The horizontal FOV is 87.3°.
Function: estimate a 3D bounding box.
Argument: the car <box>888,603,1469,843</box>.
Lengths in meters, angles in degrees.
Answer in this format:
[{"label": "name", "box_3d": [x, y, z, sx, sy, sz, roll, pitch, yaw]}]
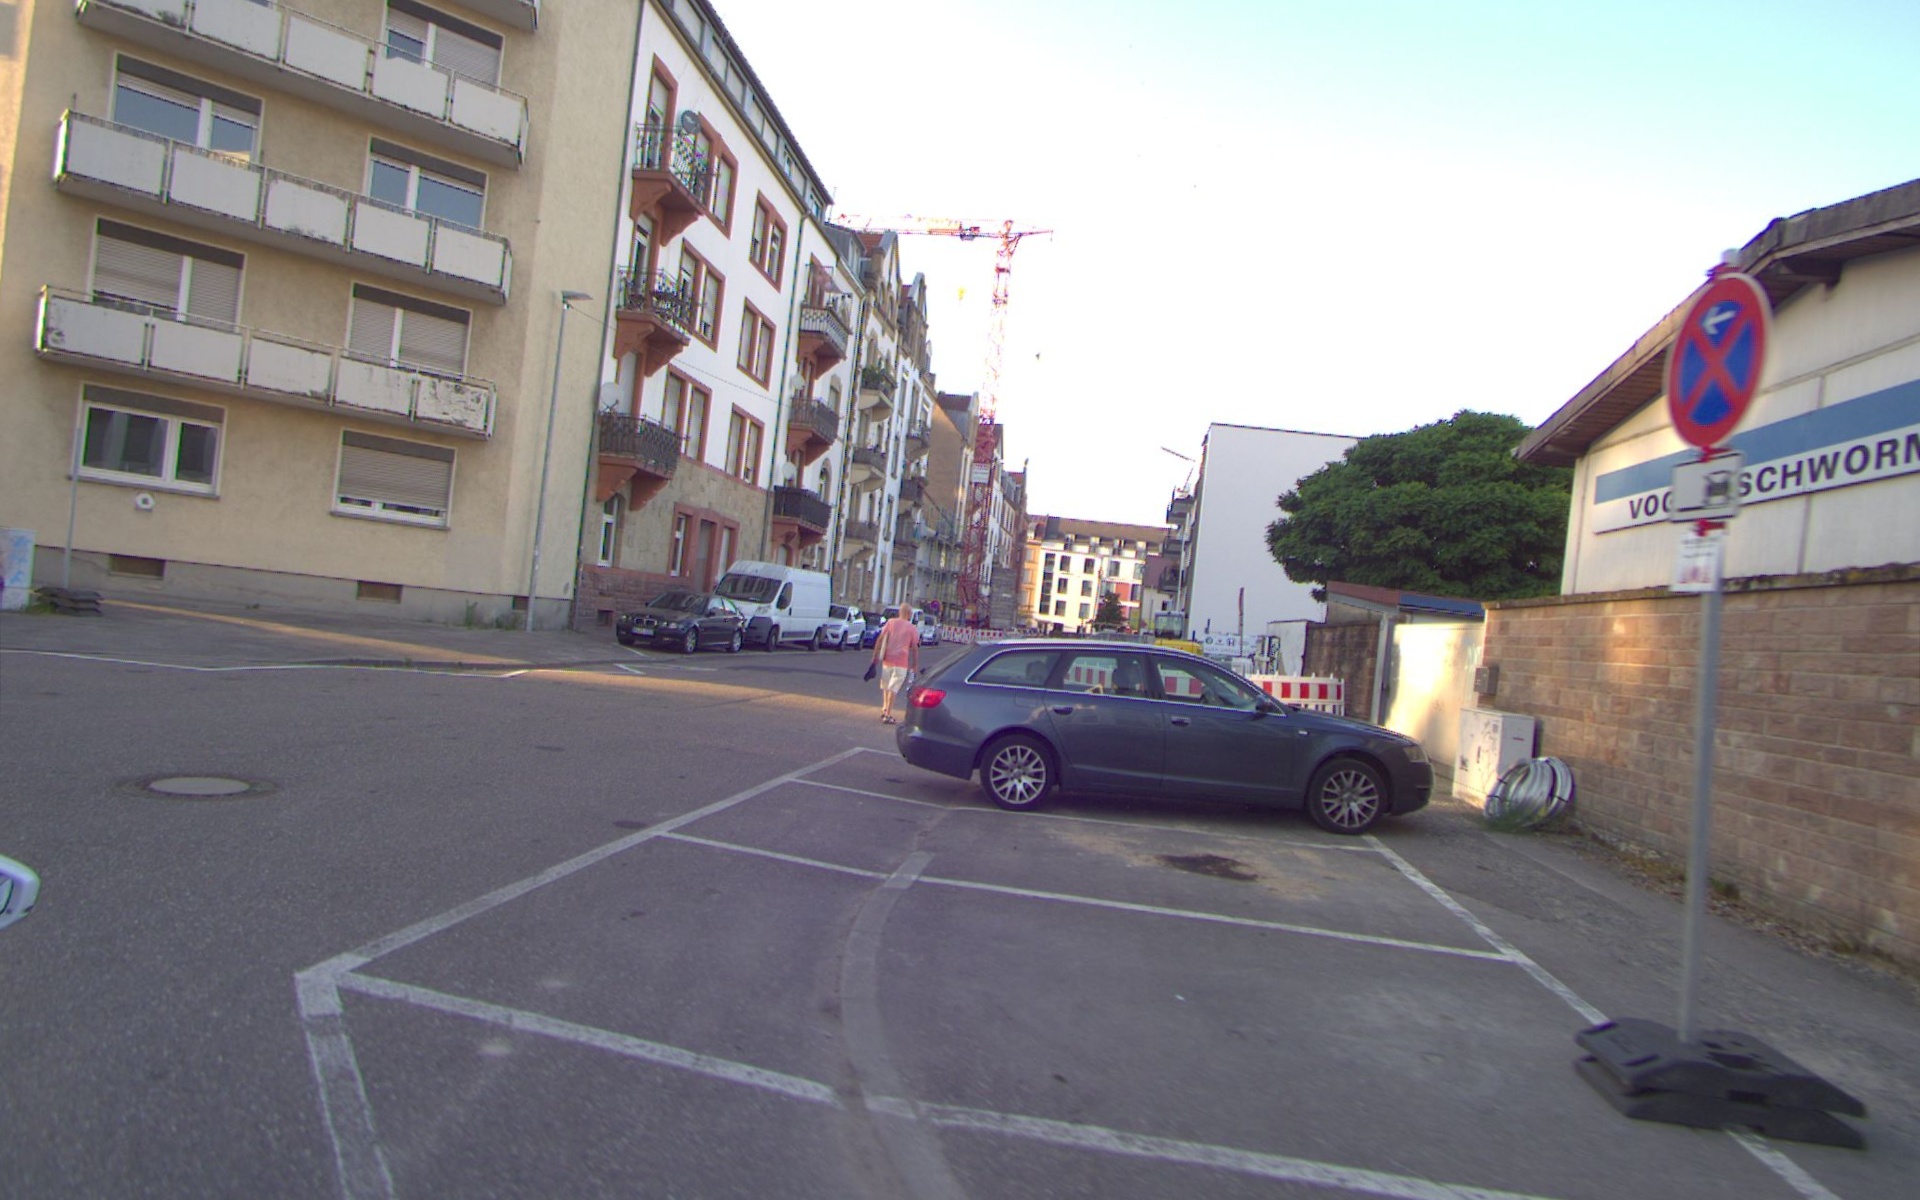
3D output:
[{"label": "car", "box_3d": [1.781, 1.025, 9.122, 4.640, 1.550, 1.832, 5, -1, -1]}]

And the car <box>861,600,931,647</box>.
[{"label": "car", "box_3d": [-3.015, 1.172, 48.495, 2.162, 1.886, 4.612, 9, -1, 9]}]

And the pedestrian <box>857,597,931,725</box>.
[{"label": "pedestrian", "box_3d": [-0.942, 0.847, 14.212, 0.773, 1.686, 0.628, 8, 0, -9]}]

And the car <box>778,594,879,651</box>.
[{"label": "car", "box_3d": [-4.616, 0.838, 36.155, 2.190, 1.585, 4.612, 9, -1, 9]}]

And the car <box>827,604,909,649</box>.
[{"label": "car", "box_3d": [-3.726, 1.139, 41.700, 2.162, 1.461, 4.612, 9, -1, 9]}]

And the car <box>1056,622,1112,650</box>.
[{"label": "car", "box_3d": [12.038, 3.526, 97.796, 4.975, 2.096, 2.001, 6, -1, 16]}]

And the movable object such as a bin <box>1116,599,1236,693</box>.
[{"label": "movable object such as a bin", "box_3d": [7.492, 1.633, 34.396, 2.627, 2.692, 5.198, 7, -1, 25]}]

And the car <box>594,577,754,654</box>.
[{"label": "car", "box_3d": [-6.623, 0.405, 23.811, 1.962, 1.387, 4.003, 9, -1, 9]}]

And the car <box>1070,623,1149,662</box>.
[{"label": "car", "box_3d": [10.346, 2.913, 69.710, 4.978, 2.096, 2.000, 7, -1, -1]}]

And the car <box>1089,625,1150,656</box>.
[{"label": "car", "box_3d": [14.282, 3.626, 89.995, 4.975, 2.096, 2.001, 6, -1, 16]}]

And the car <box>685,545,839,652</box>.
[{"label": "car", "box_3d": [-5.669, 0.063, 29.870, 2.190, 2.560, 6.042, 8, -1, 9]}]

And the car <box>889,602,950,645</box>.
[{"label": "car", "box_3d": [-2.118, 1.308, 54.267, 2.162, 1.886, 4.612, 9, -1, 9]}]

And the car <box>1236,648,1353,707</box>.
[{"label": "car", "box_3d": [12.692, 2.912, 38.159, 3.928, 1.724, 1.848, 6, -1, 24]}]
